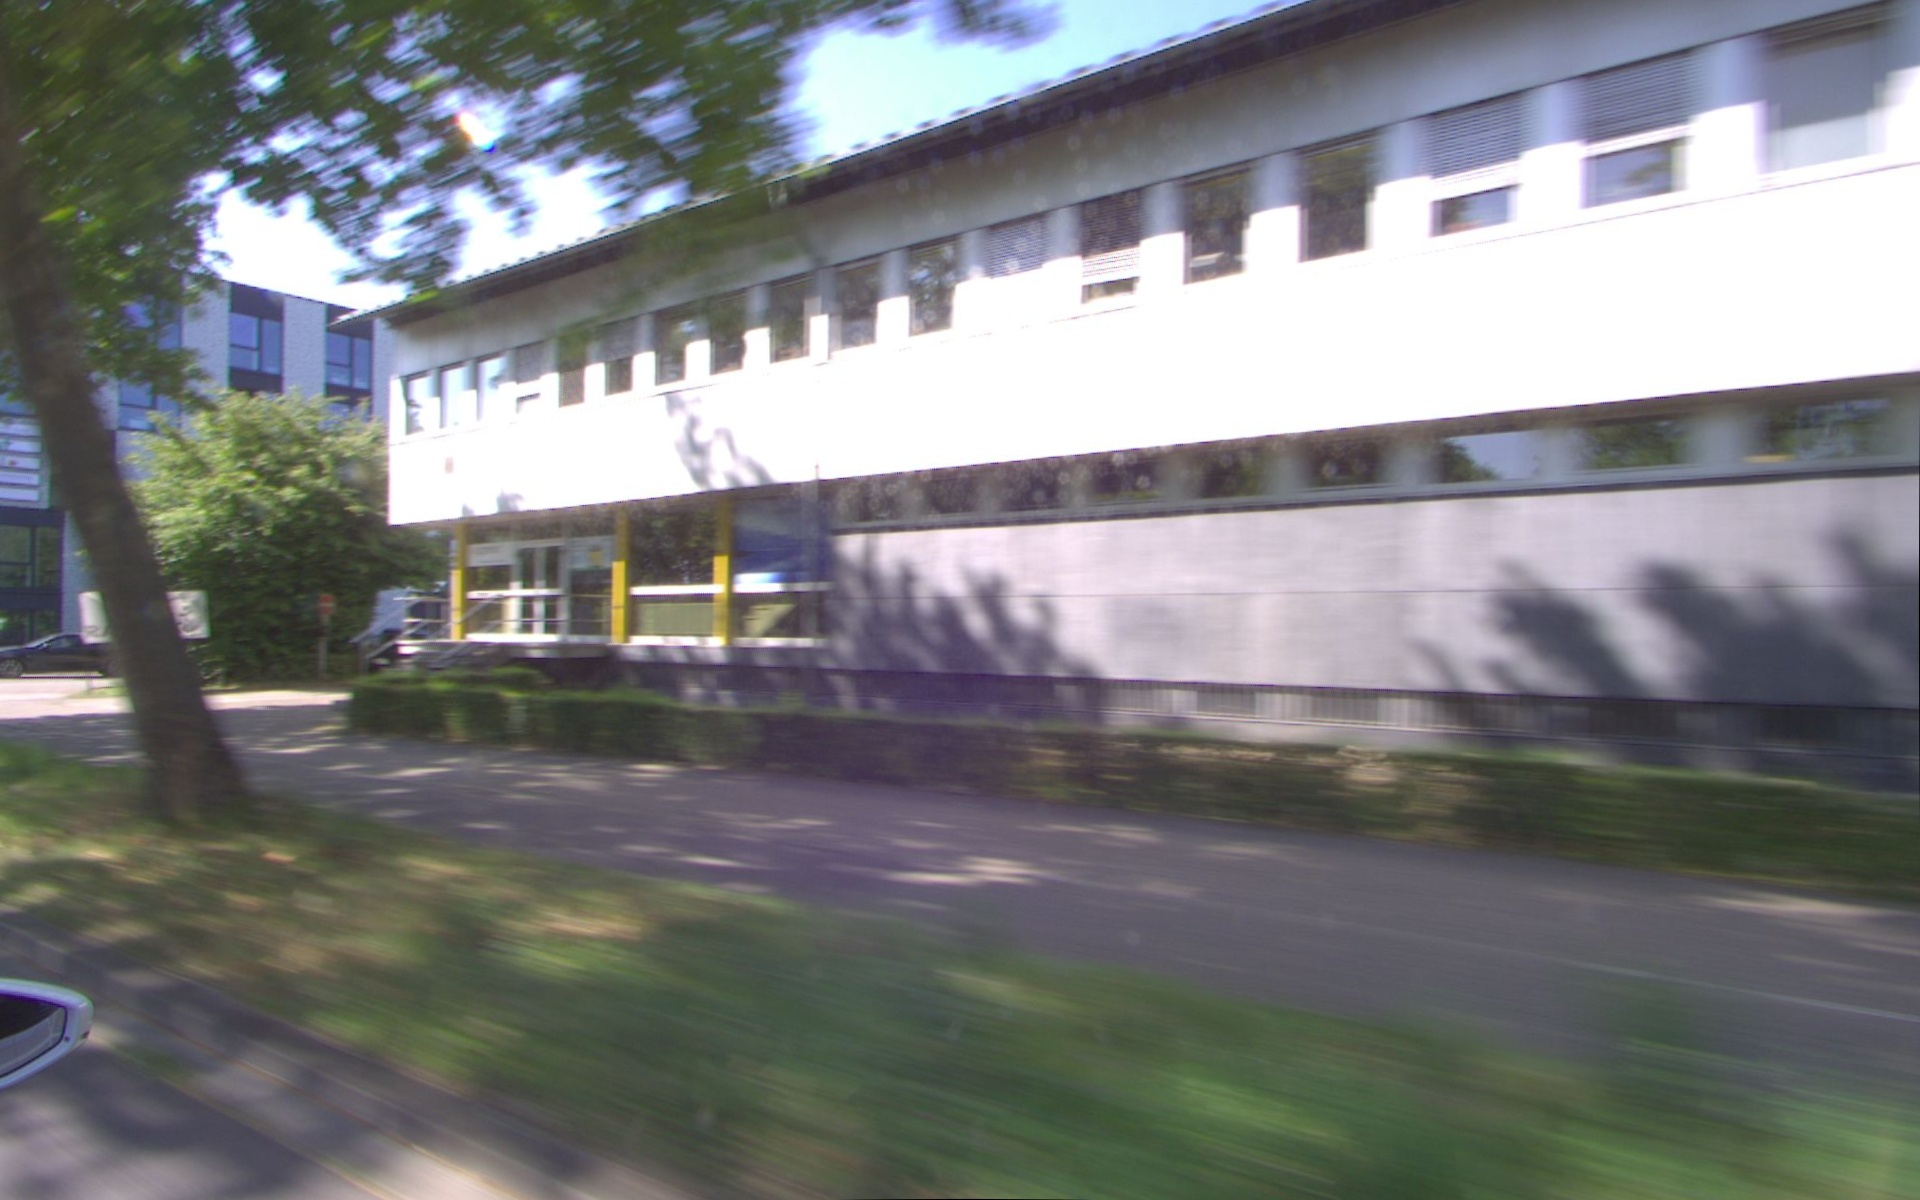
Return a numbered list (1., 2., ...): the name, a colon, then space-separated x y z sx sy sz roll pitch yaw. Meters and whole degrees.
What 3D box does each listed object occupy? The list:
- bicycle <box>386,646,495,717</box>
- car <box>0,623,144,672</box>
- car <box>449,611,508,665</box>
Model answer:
1. bicycle: -9.259 1.424 17.900 0.503 1.145 1.662 0 0 42
2. car: -29.954 1.555 33.157 1.976 1.536 4.231 0 -3 40
3. car: -16.159 1.252 33.687 1.654 1.683 3.735 -1 -1 -25
